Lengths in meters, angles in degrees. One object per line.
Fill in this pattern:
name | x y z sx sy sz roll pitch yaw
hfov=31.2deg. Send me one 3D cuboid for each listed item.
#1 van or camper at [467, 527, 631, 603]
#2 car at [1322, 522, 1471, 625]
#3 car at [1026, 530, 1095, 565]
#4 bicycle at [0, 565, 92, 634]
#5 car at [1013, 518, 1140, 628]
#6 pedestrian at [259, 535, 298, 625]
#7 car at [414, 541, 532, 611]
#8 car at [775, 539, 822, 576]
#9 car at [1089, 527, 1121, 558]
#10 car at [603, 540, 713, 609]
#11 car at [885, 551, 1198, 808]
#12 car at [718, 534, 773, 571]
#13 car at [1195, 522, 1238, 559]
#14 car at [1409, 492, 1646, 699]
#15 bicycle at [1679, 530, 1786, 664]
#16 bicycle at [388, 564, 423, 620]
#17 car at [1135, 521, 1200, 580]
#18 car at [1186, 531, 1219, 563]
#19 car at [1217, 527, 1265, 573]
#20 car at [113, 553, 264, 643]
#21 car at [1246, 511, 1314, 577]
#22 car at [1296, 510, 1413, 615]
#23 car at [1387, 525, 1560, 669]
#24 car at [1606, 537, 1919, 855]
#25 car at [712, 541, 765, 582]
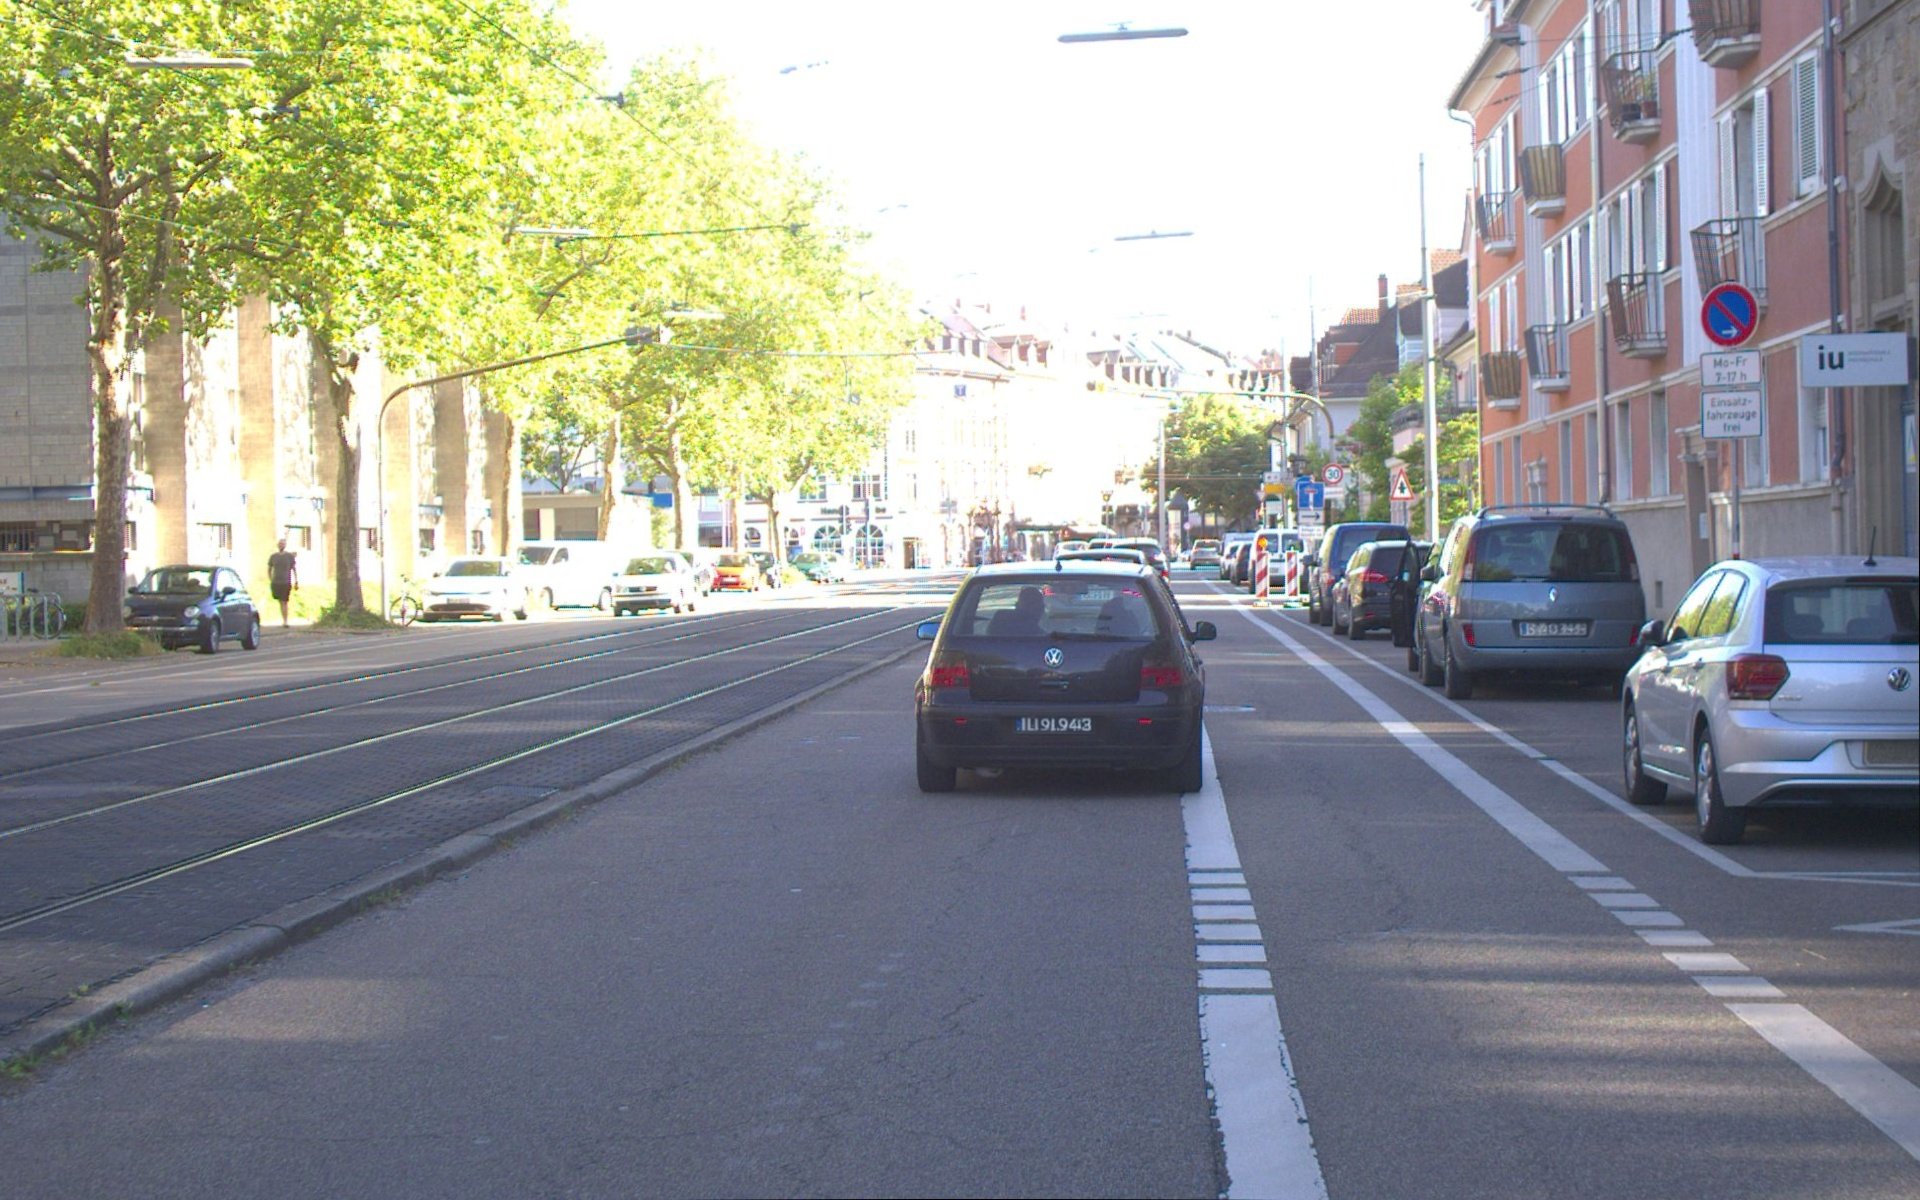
van or camper | -10.993 -0.963 92.393 2.063 1.943 5.183 1 2 23
car | 6.686 -0.442 53.092 1.754 1.506 4.763 0 1 1
car | 5.906 -3.113 202.609 3.987 2.007 2.000 0 2 1
bicycle | -17.396 -0.016 64.570 2.008 1.274 0.664 0 1 4
car | 1.784 -0.437 51.600 1.749 1.532 3.891 -2 1 4
pedestrian | -14.227 -0.419 71.746 0.784 1.863 0.671 0 1 -11
car | -11.589 -0.594 82.061 2.012 1.567 4.693 0 2 2
car | -7.578 -2.027 161.860 1.884 1.663 3.804 0 2 2
car | 8.134 -3.226 192.613 1.668 1.692 3.650 -1 1 3
car | -7.214 -0.633 82.512 1.753 1.513 4.070 -3 1 7
car | 0.532 0.428 21.620 1.748 1.370 4.000 -2 1 2
car | -8.864 -1.964 142.305 1.792 1.460 3.835 1 1 3
car | 10.018 -2.340 134.432 1.580 1.370 4.000 -1 1 3
car | 5.441 -0.094 33.472 1.753 1.849 4.815 -1 1 3
bicycle | 7.005 -0.049 31.246 0.515 1.136 2.258 -3 1 3
bicycle | -12.335 -0.192 76.514 0.581 1.204 1.654 0 2 -3
car | 5.394 -1.307 89.540 1.636 1.467 3.729 -1 1 3
car | 12.721 -2.795 180.572 1.668 1.592 3.650 -1 1 3
car | 11.367 -2.024 139.130 1.817 1.793 4.000 -1 1 3
car | -12.958 -0.059 57.916 1.507 1.449 3.463 -1 1 4
car | 8.991 -1.594 96.821 1.759 1.831 3.547 0 2 3
car | 7.042 -0.702 61.667 1.702 1.804 4.271 0 1 2
car | 5.655 -0.075 38.176 1.632 1.506 3.716 0 1 4
car | 4.628 0.424 18.531 1.714 1.495 4.226 0 1 3
car | -8.566 -1.481 133.118 1.570 1.528 3.572 -1 0 3
